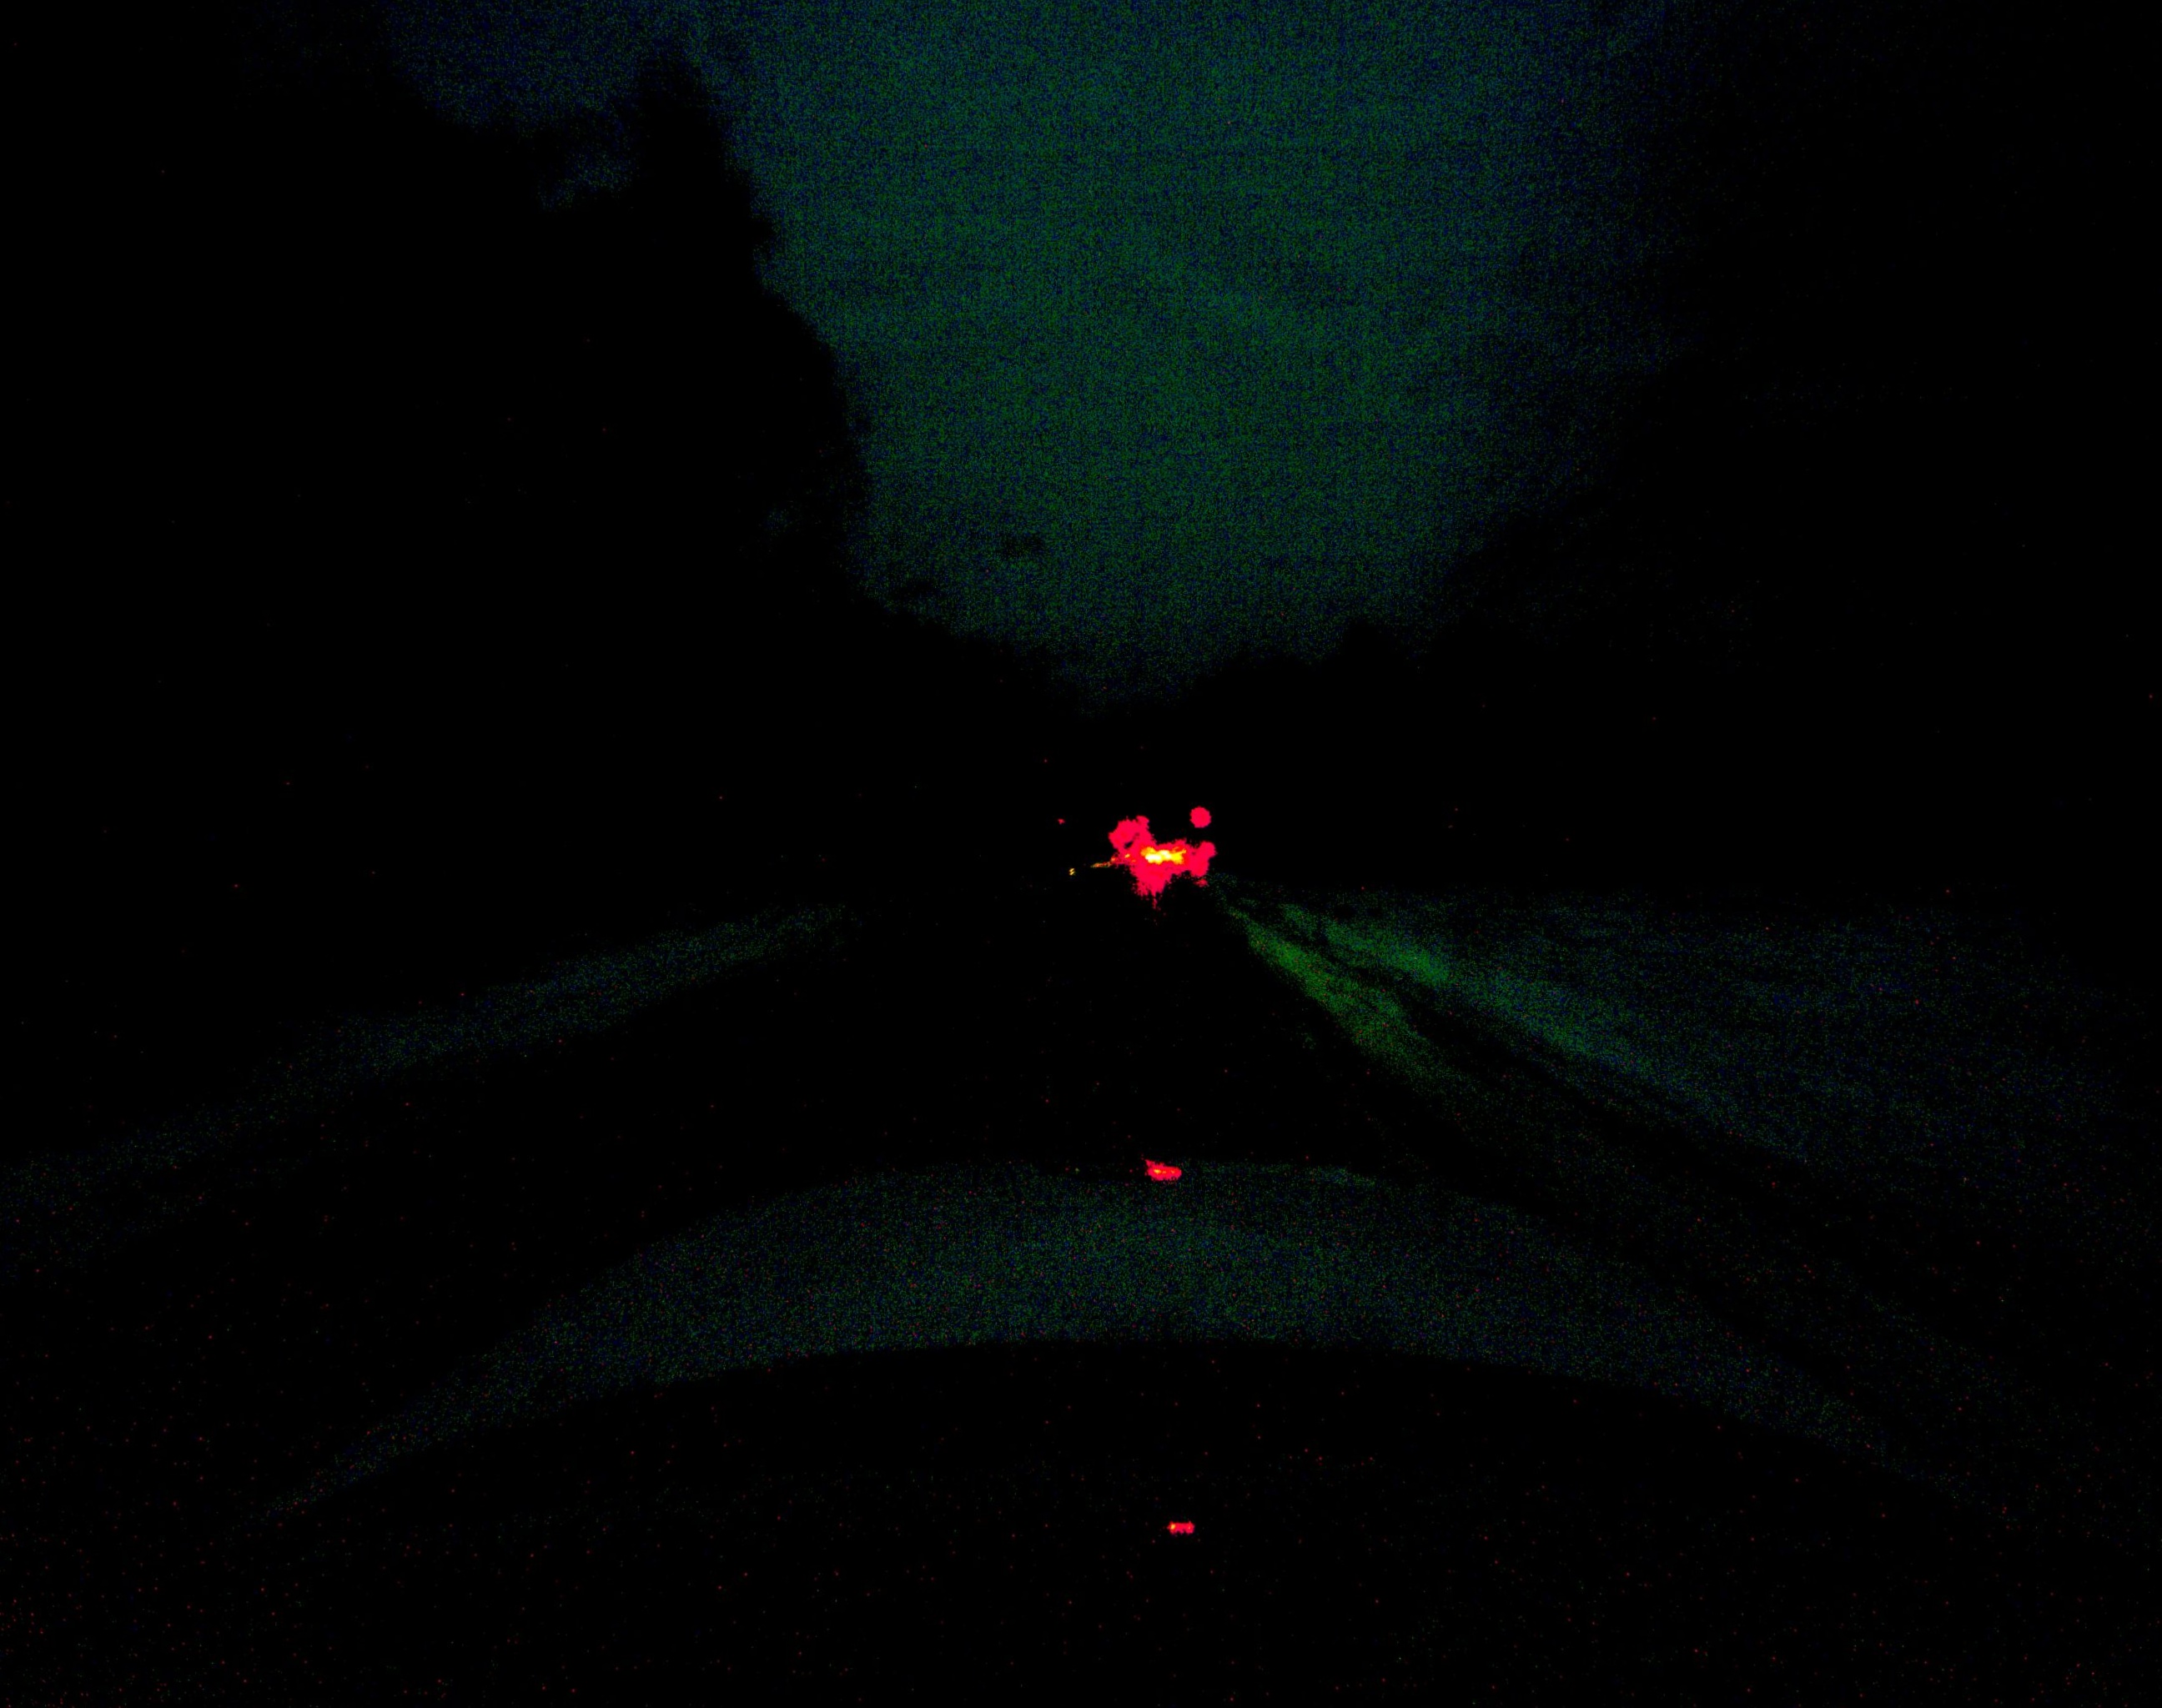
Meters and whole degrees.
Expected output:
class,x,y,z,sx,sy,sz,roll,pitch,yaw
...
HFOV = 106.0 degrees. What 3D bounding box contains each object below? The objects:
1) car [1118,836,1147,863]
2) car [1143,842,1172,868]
class,x,y,z,sx,sy,sz,roll,pitch,yaw
car,5.299,-0.448,84.503,2.248,2.645,4.999,-3,0,-4
car,6.166,0.056,65.820,1.987,2.051,4.000,-1,0,0
